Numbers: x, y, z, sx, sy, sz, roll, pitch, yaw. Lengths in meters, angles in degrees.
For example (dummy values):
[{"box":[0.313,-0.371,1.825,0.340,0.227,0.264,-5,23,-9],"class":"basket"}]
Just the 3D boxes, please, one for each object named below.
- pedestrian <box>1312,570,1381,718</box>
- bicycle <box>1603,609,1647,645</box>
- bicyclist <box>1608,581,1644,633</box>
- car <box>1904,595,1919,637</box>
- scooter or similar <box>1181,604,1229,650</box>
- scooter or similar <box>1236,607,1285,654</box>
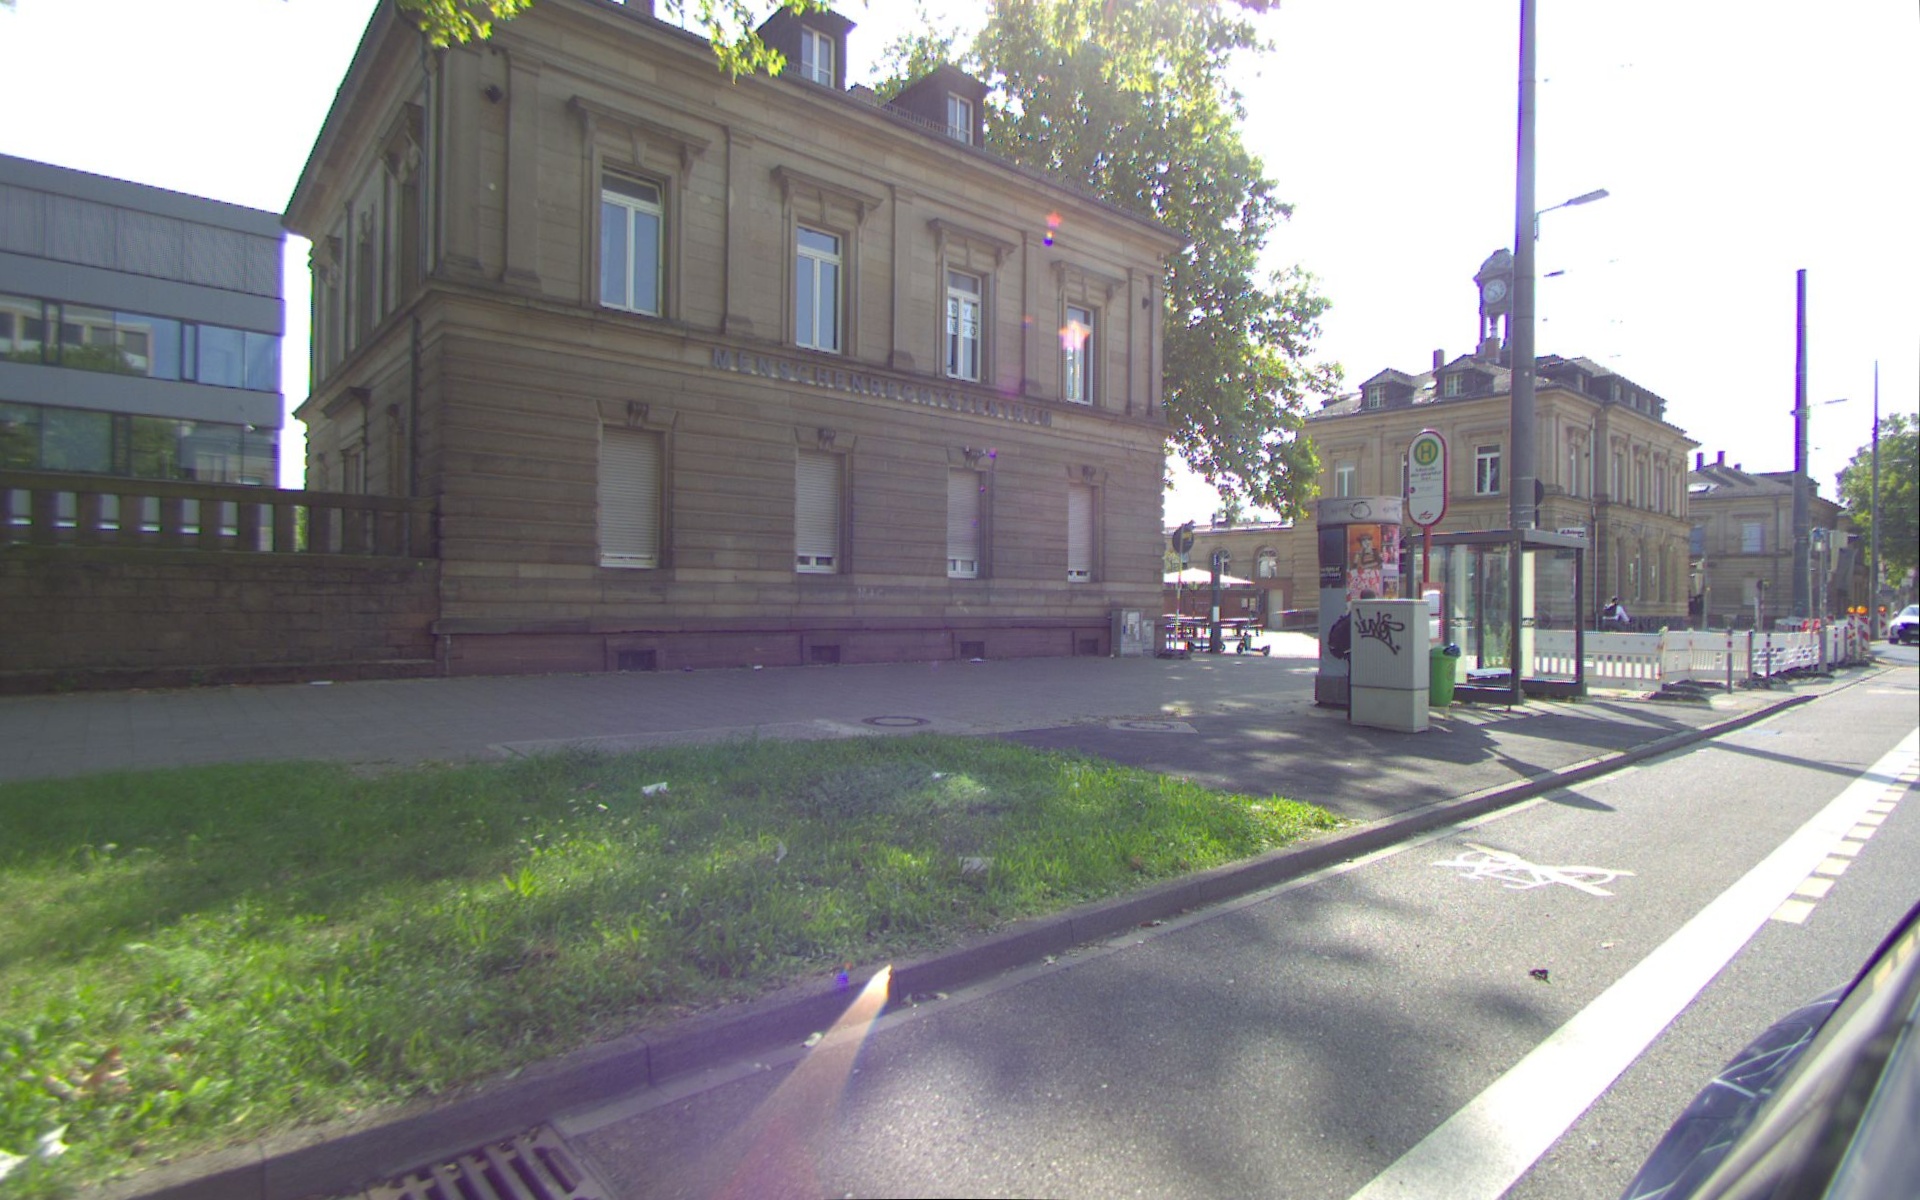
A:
[{"box":[4.688,0.512,12.255,0.683,1.718,0.642,1,0,29],"class":"pedestrian"},{"box":[20.310,0.829,30.890,1.871,1.055,0.718,1,0,-43],"class":"bicycle"},{"box":[20.348,0.210,30.918,0.939,1.563,0.718,2,-1,-43],"class":"bicyclist"},{"box":[41.887,0.712,43.326,1.992,1.717,5.146,1,0,41],"class":"car"},{"box":[6.944,0.757,28.679,1.242,1.225,0.419,2,-1,25],"class":"scooter or similar"},{"box":[8.260,0.845,27.840,1.228,1.225,0.423,3,-1,-18],"class":"scooter or similar"}]
